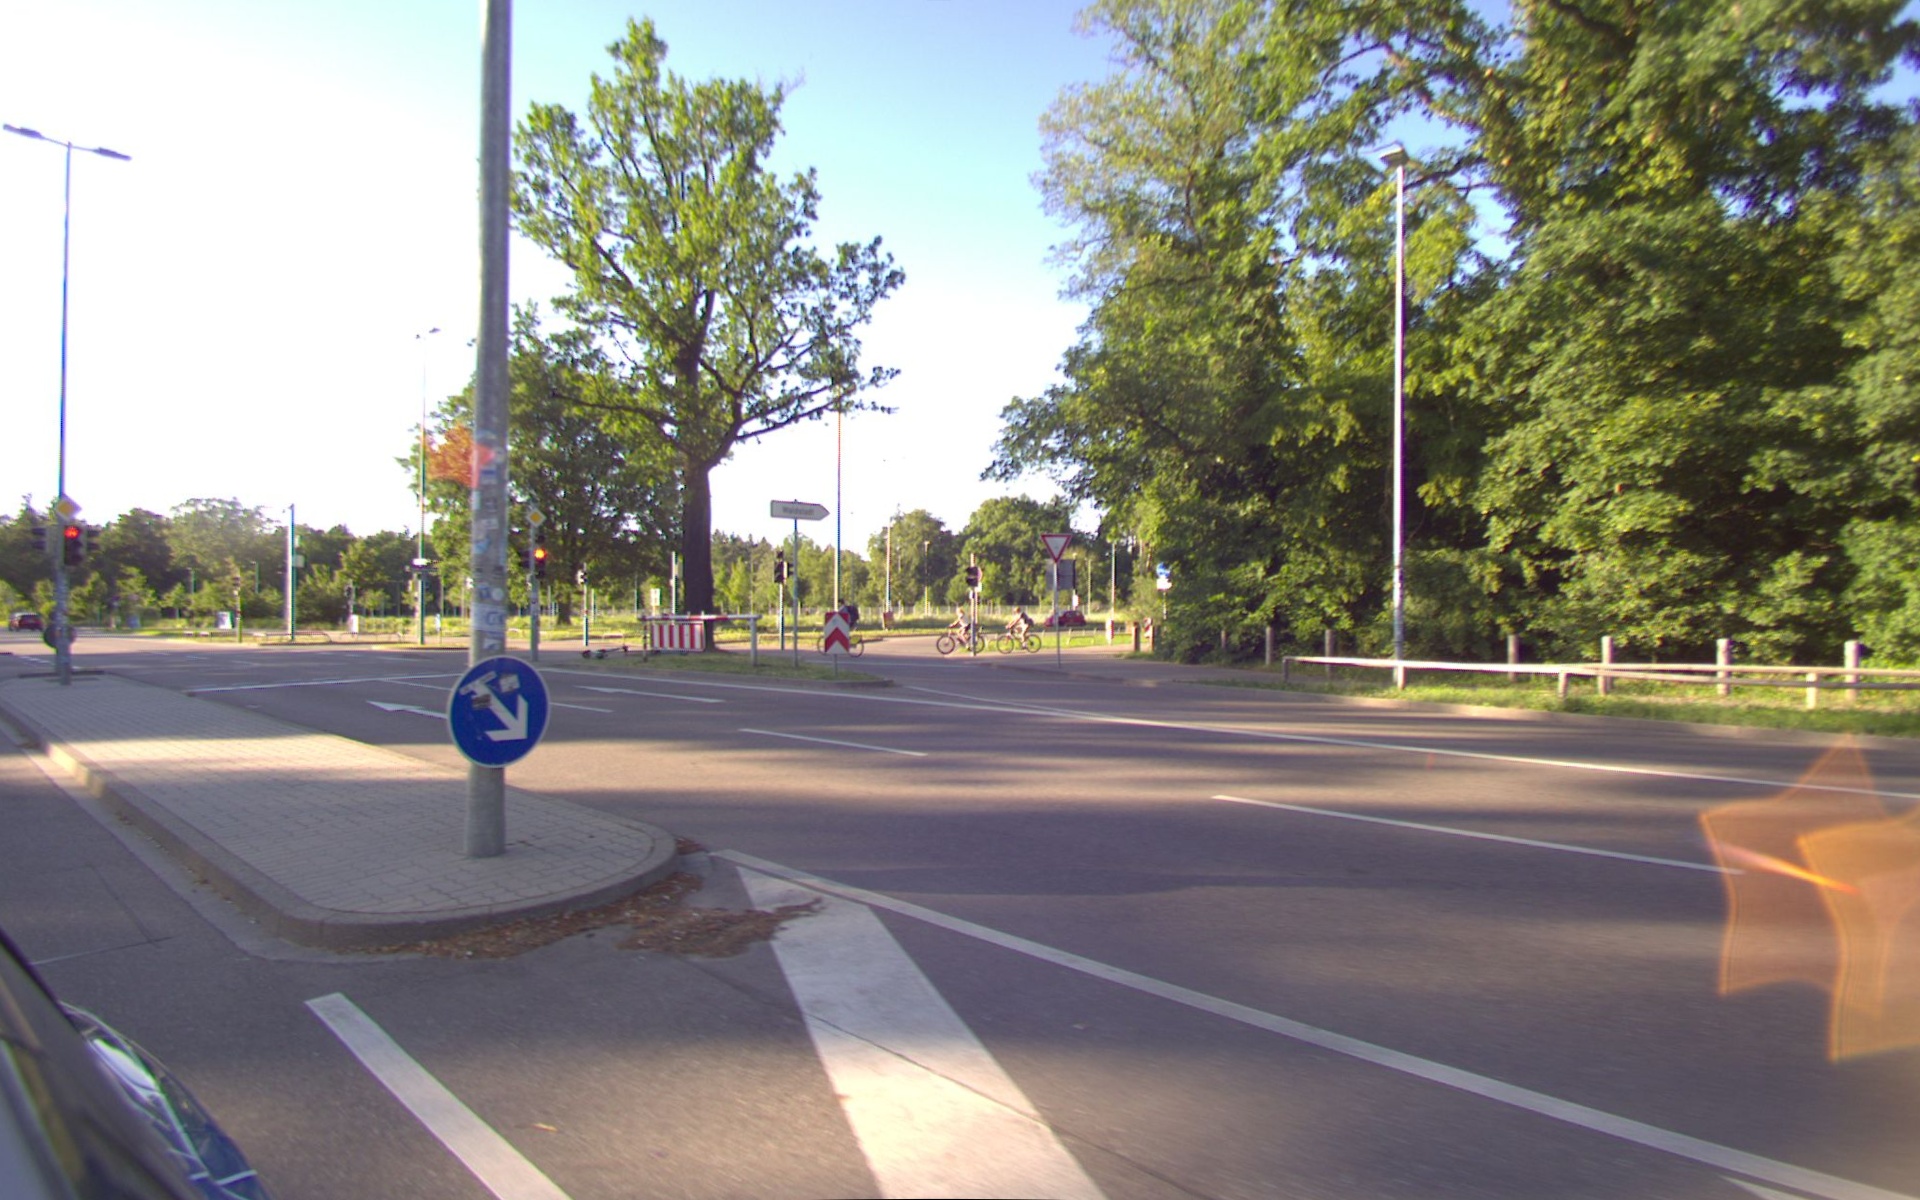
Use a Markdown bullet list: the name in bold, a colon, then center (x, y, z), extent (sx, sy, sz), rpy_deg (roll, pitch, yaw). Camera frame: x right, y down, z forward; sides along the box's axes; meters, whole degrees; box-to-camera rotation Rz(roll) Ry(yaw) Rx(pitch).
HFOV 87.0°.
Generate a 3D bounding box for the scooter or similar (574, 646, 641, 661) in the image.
- **scooter or similar**: center (-9.736, 1.467, 27.929), extent (1.390, 0.342, 1.262), rpy_deg (0, -2, -40)

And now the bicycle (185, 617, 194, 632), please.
- **bicycle**: center (-68.309, 2.150, 89.739), extent (0.487, 1.247, 1.797), rpy_deg (-1, 0, -42)

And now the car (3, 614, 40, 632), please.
- **car**: center (-84.117, 2.032, 90.694), extent (4.568, 1.565, 1.867), rpy_deg (-1, 0, 40)

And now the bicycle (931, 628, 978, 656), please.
- **bicycle**: center (-0.202, 1.537, 37.173), extent (1.574, 0.984, 0.782), rpy_deg (-1, 0, 13)

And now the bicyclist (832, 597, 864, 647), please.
- **bicyclist**: center (-3.596, 0.712, 32.413), extent (0.794, 1.563, 0.560), rpy_deg (-3, -2, 20)

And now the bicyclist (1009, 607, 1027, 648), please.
- **bicyclist**: center (2.062, 0.968, 35.876), extent (0.521, 1.411, 0.520), rpy_deg (-1, 0, -9)

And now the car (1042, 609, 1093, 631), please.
- **car**: center (8.417, 1.555, 79.398), extent (3.936, 1.521, 1.660), rpy_deg (-1, 0, -38)

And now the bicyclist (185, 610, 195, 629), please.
- **bicyclist**: center (-68.274, 1.740, 89.745), extent (0.672, 1.623, 0.801), rpy_deg (-1, 0, -41)

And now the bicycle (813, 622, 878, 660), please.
- **bicycle**: center (-3.667, 1.312, 32.450), extent (1.969, 1.163, 0.677), rpy_deg (-3, -2, 21)

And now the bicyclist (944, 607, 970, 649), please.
- **bicyclist**: center (-0.106, 1.021, 37.144), extent (0.792, 1.494, 0.727), rpy_deg (-1, 0, 12)

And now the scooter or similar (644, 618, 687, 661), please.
- **scooter or similar**: center (-8.006, 1.063, 27.515), extent (1.054, 1.155, 0.395), rpy_deg (0, -2, -40)

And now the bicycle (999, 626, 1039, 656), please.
- **bicycle**: center (2.094, 1.455, 35.884), extent (1.334, 0.984, 0.523), rpy_deg (-1, 0, -8)
